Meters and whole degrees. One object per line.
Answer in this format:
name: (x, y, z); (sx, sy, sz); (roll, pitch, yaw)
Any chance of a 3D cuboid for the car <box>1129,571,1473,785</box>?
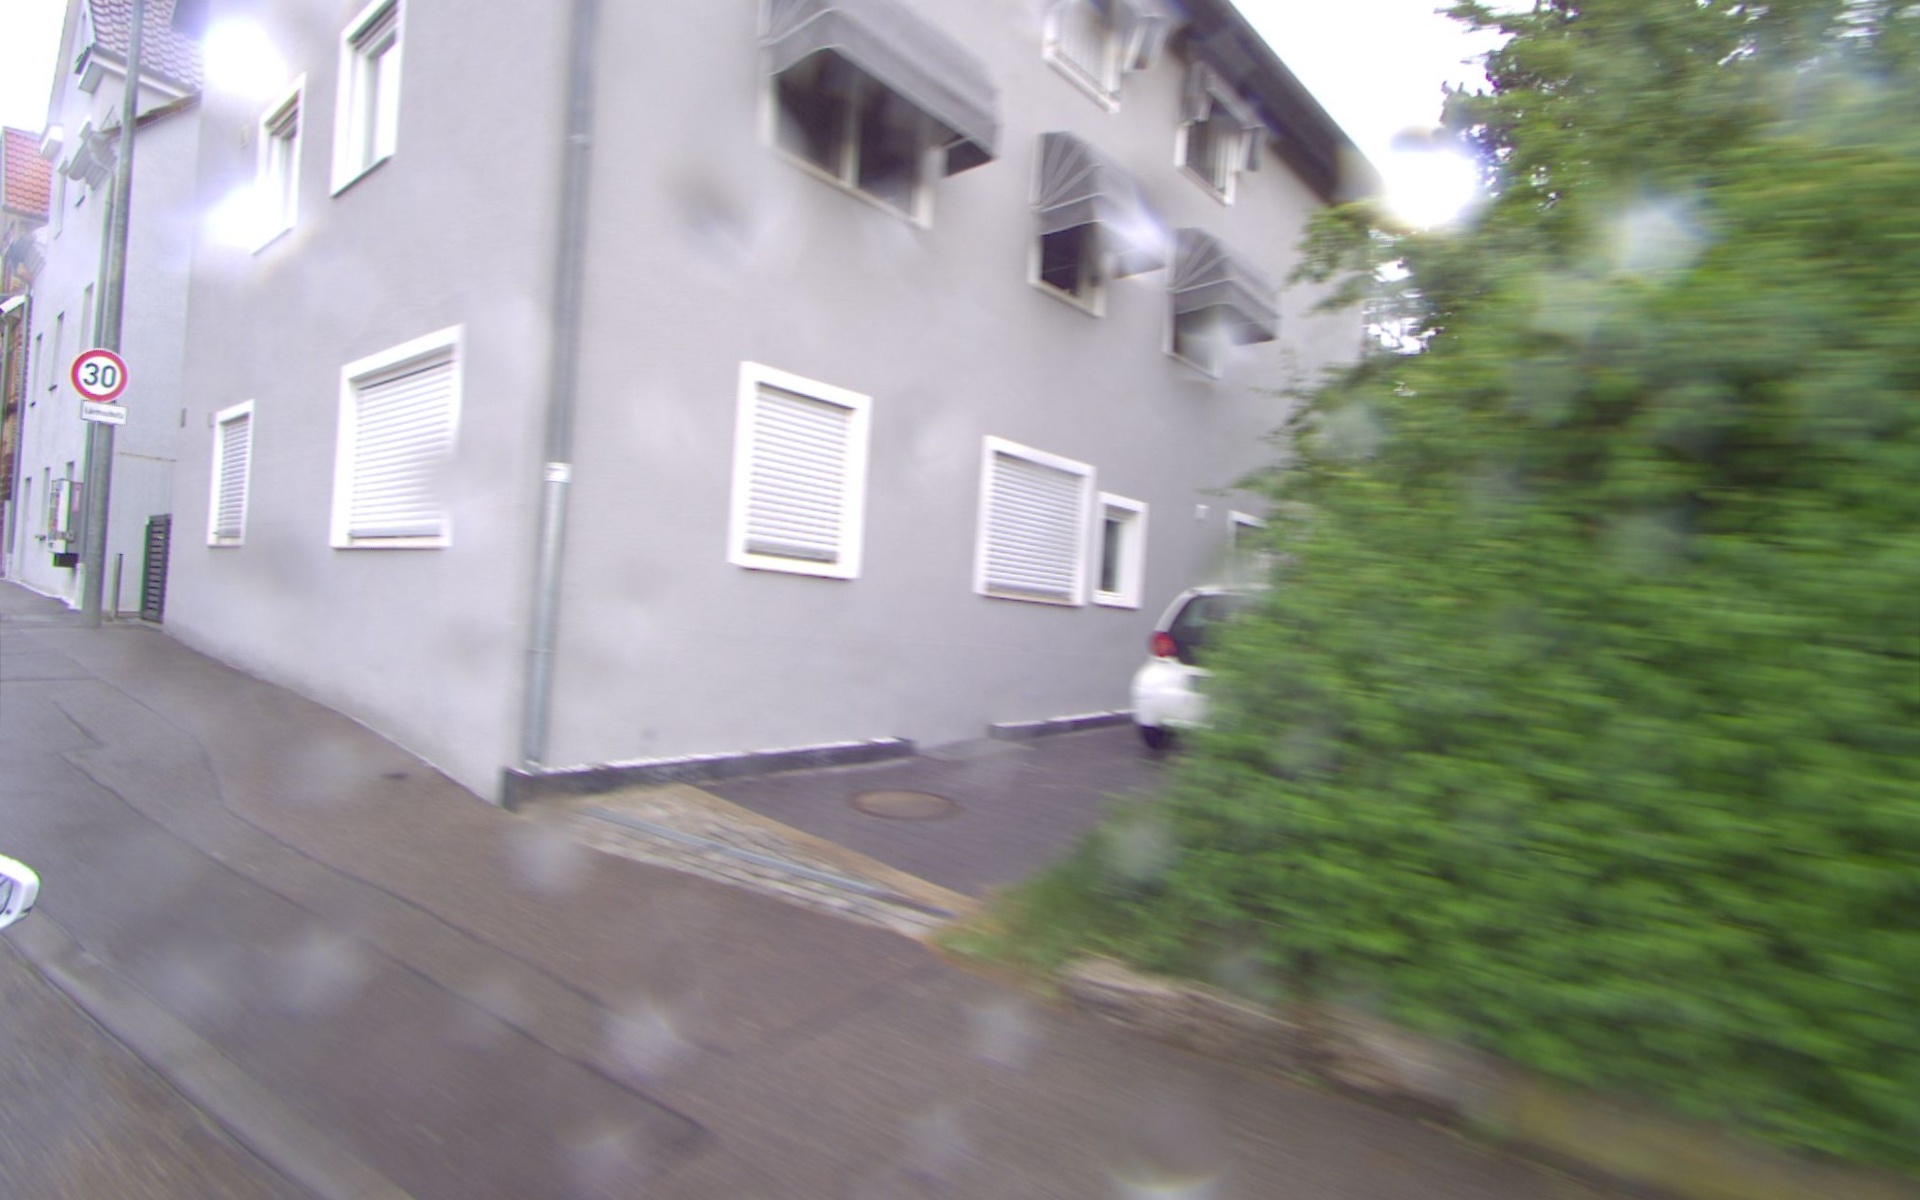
car: (3.225, 0.619, 9.129); (1.614, 1.474, 3.556); (6, 2, 42)
